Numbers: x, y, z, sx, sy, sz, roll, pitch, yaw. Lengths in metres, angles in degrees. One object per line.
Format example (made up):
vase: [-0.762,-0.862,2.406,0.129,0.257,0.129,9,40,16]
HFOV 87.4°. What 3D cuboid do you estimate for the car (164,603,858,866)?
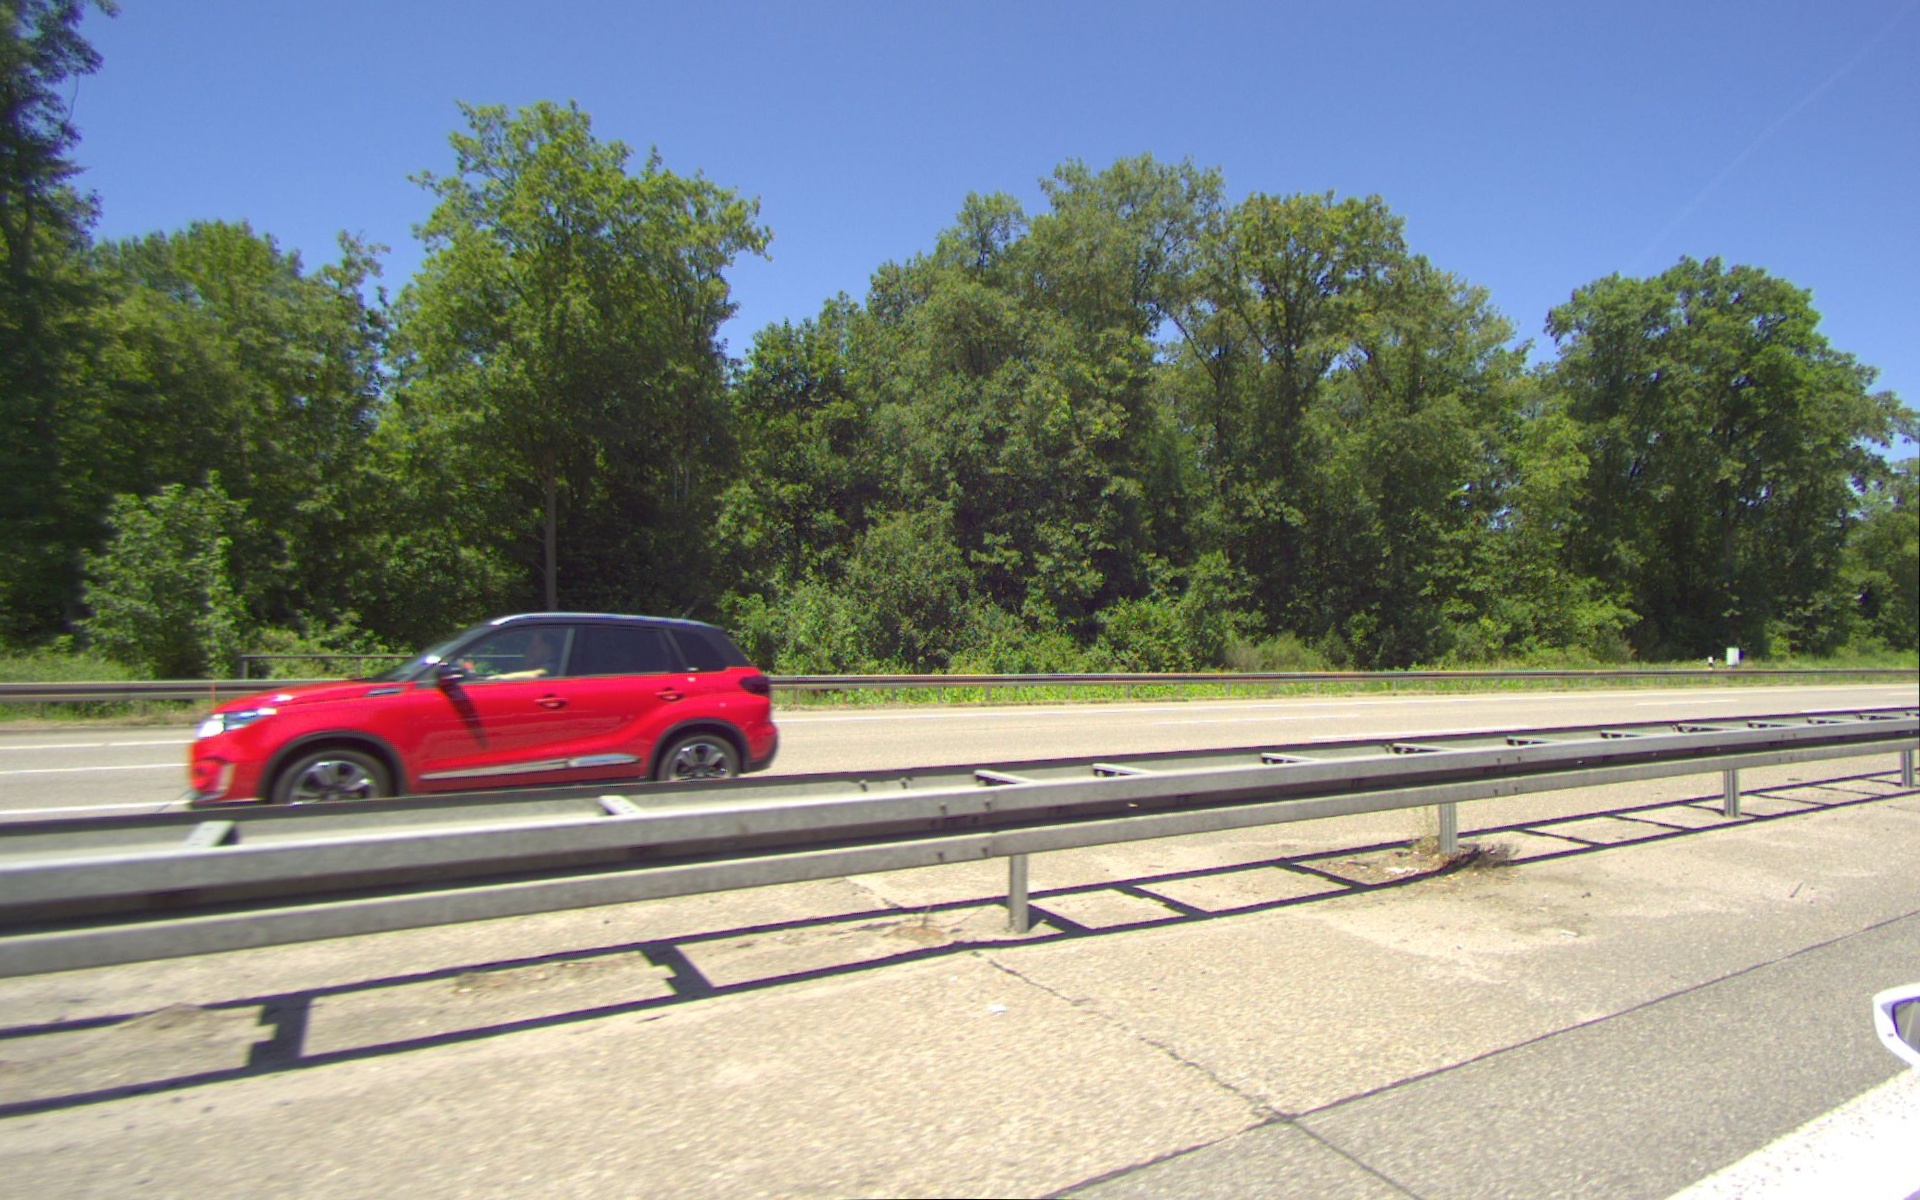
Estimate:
car: [-3.290,0.915,8.079,4.589,1.606,1.724,2,-1,-30]
